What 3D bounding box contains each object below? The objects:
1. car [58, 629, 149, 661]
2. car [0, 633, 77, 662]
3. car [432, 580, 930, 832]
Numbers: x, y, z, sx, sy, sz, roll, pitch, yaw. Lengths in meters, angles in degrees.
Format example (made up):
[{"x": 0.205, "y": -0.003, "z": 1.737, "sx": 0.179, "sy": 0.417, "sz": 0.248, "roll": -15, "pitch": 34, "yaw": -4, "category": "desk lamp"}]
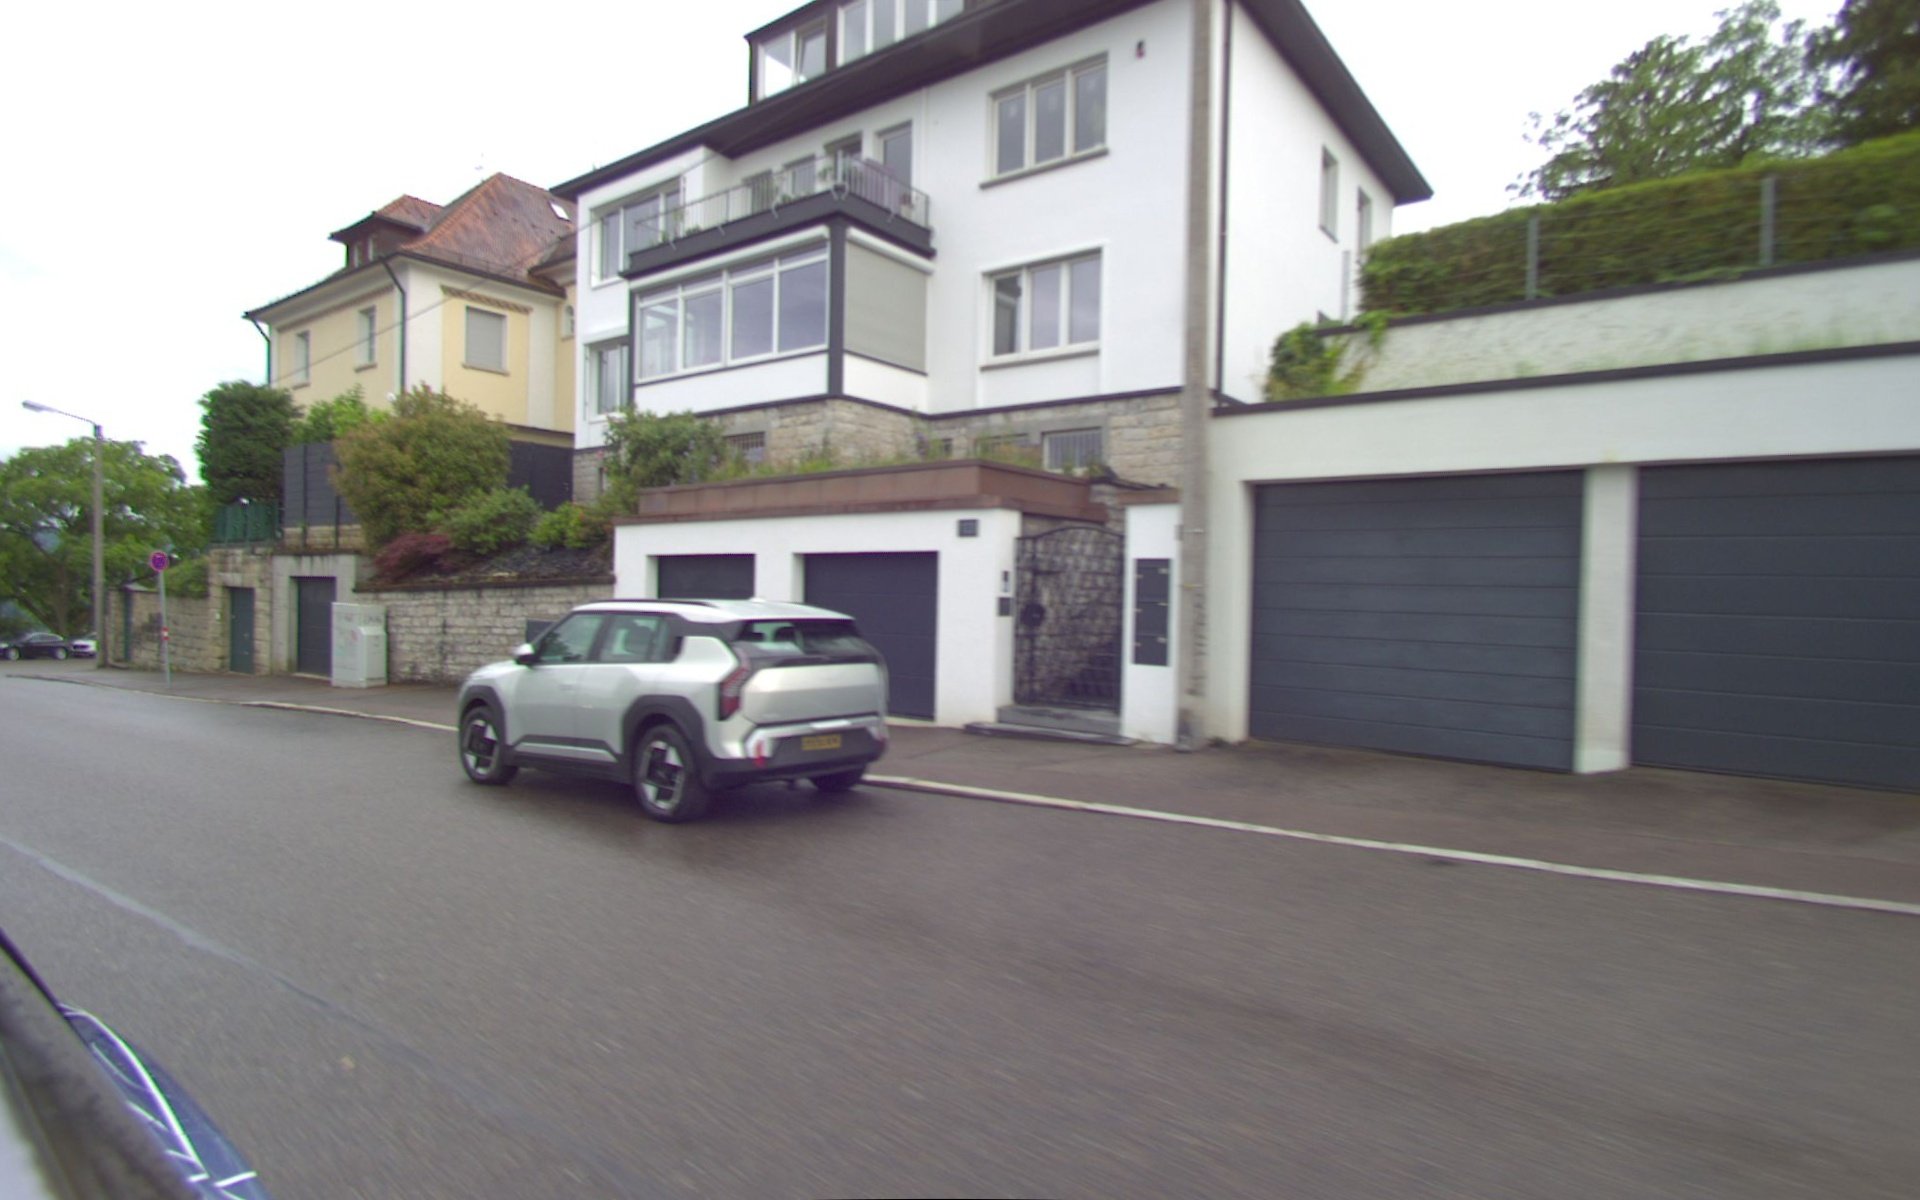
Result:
[{"x": -51.944, "y": 2.739, "z": 61.469, "sx": 1.727, "sy": 1.835, "sz": 4.423, "roll": 2, "pitch": -3, "yaw": -1, "category": "car"}, {"x": -51.678, "y": 2.599, "z": 55.728, "sx": 1.839, "sy": 1.554, "sz": 4.896, "roll": 1, "pitch": -3, "yaw": -2, "category": "car"}, {"x": -2.465, "y": 0.707, "z": 8.415, "sx": 4.232, "sy": 1.579, "sz": 1.880, "roll": -1, "pitch": -1, "yaw": 38, "category": "car"}]
